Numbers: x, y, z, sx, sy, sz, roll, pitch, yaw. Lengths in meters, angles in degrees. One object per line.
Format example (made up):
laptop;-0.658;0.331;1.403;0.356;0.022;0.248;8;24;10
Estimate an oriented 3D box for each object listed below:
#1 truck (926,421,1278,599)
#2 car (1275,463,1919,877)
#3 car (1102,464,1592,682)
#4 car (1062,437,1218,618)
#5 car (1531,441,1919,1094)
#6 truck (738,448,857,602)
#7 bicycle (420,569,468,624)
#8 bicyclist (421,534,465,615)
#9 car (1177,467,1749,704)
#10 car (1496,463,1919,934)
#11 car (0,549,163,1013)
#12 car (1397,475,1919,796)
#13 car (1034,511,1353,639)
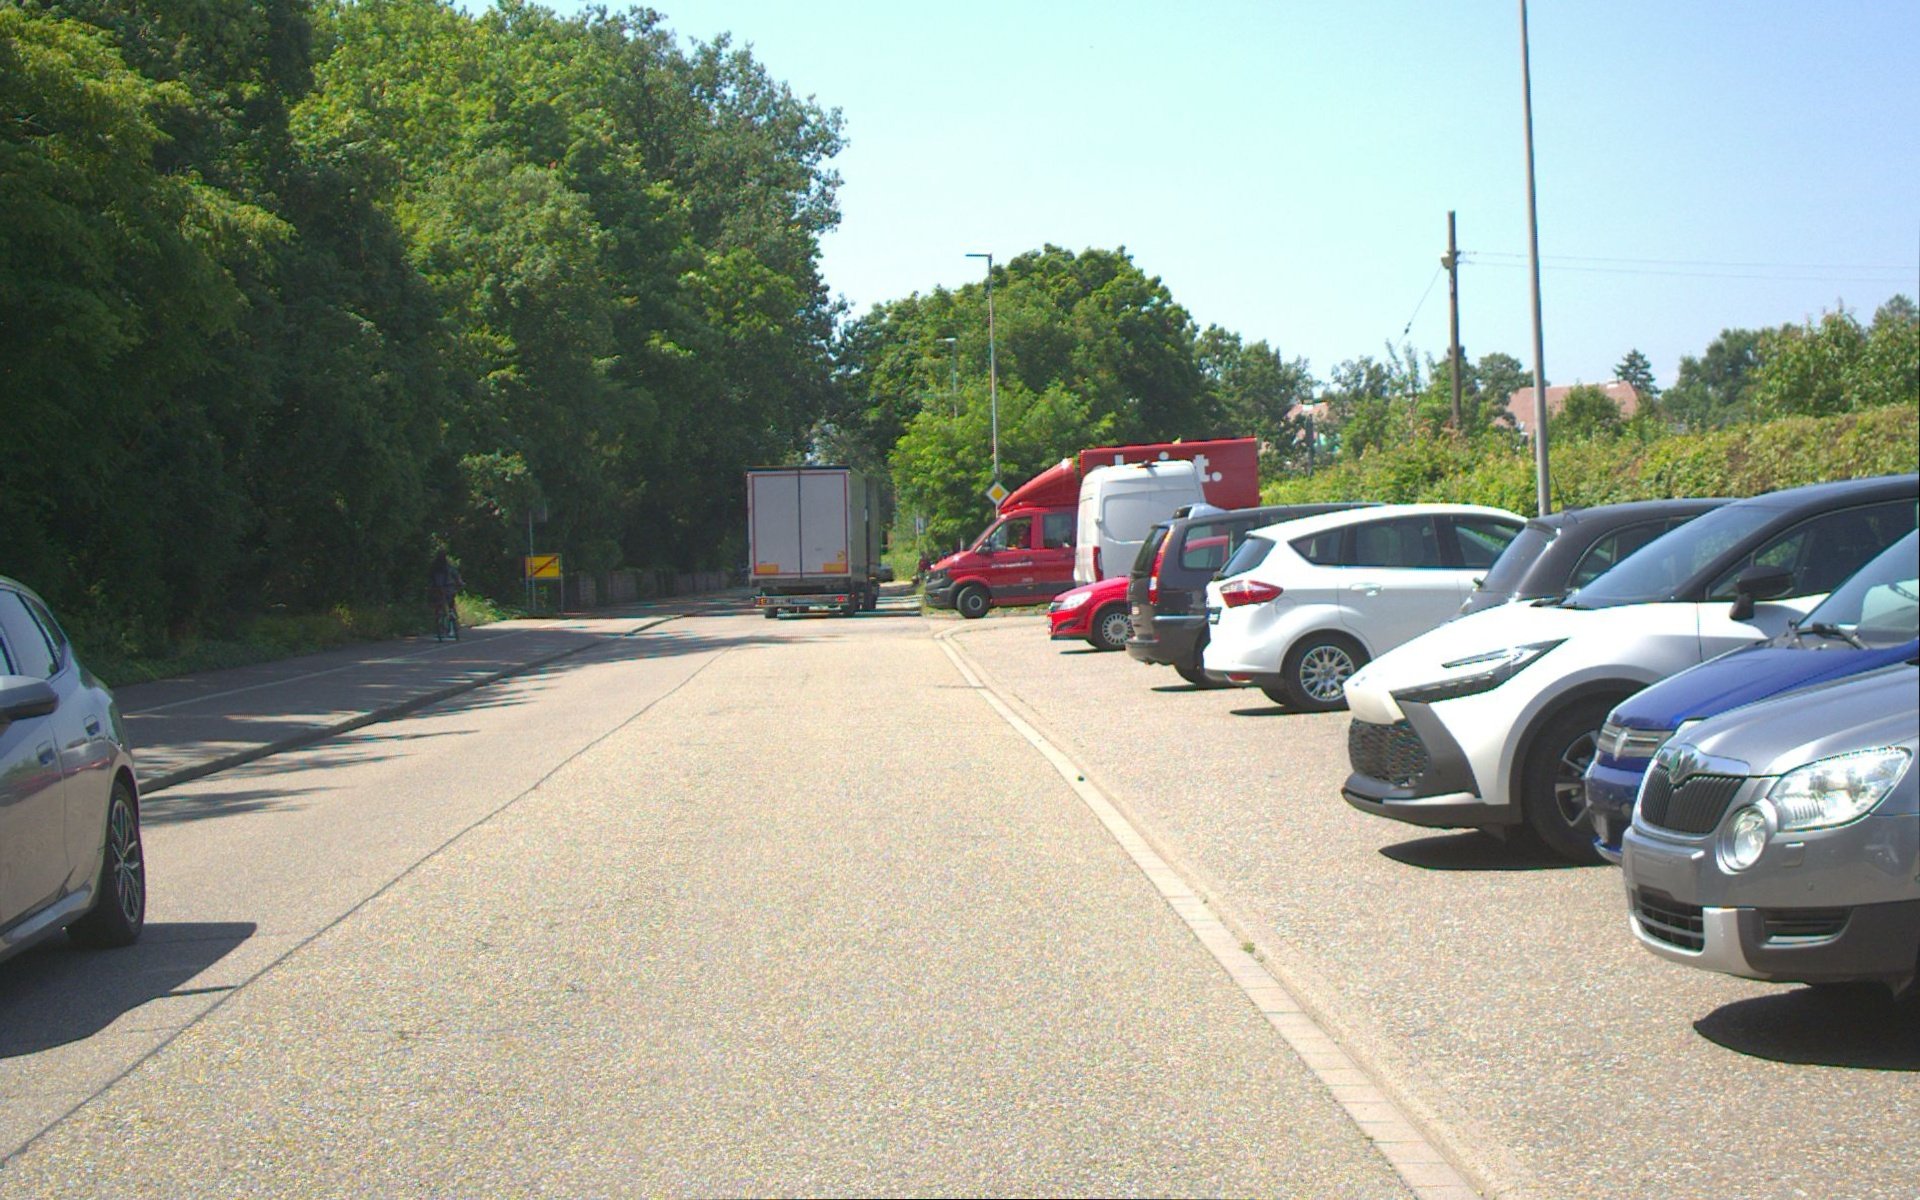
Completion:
truck;2.956;-1.889;71.853;7.137;3.428;2.330;-2;2;2
car;3.647;0.217;15.756;3.962;1.517;1.865;-5;2;-7
car;3.830;-0.274;34.470;4.452;1.798;1.953;-4;1;-6
car;2.945;-1.229;57.739;1.954;2.724;7.168;-4;1;-1
car;3.884;0.265;9.964;3.959;1.634;1.664;-5;2;-7
truck;-4.199;-1.957;91.025;2.733;3.733;13.246;-1;1;-1
bicycle;-10.148;-0.073;67.623;0.561;1.023;1.839;-2;1;2
bicyclist;-10.167;-0.505;67.645;0.648;1.559;0.837;-2;1;2
car;4.070;-0.140;28.222;4.275;1.572;1.766;-4;1;-4
car;3.964;0.228;12.896;3.452;1.522;1.540;-5;2;-7
car;-4.234;0.678;12.242;1.891;1.527;4.197;-6;1;-3
car;4.208;0.145;18.771;3.387;1.498;1.588;-4;2;1
car;3.179;-0.362;47.307;4.053;1.429;1.836;-4;1;-4
